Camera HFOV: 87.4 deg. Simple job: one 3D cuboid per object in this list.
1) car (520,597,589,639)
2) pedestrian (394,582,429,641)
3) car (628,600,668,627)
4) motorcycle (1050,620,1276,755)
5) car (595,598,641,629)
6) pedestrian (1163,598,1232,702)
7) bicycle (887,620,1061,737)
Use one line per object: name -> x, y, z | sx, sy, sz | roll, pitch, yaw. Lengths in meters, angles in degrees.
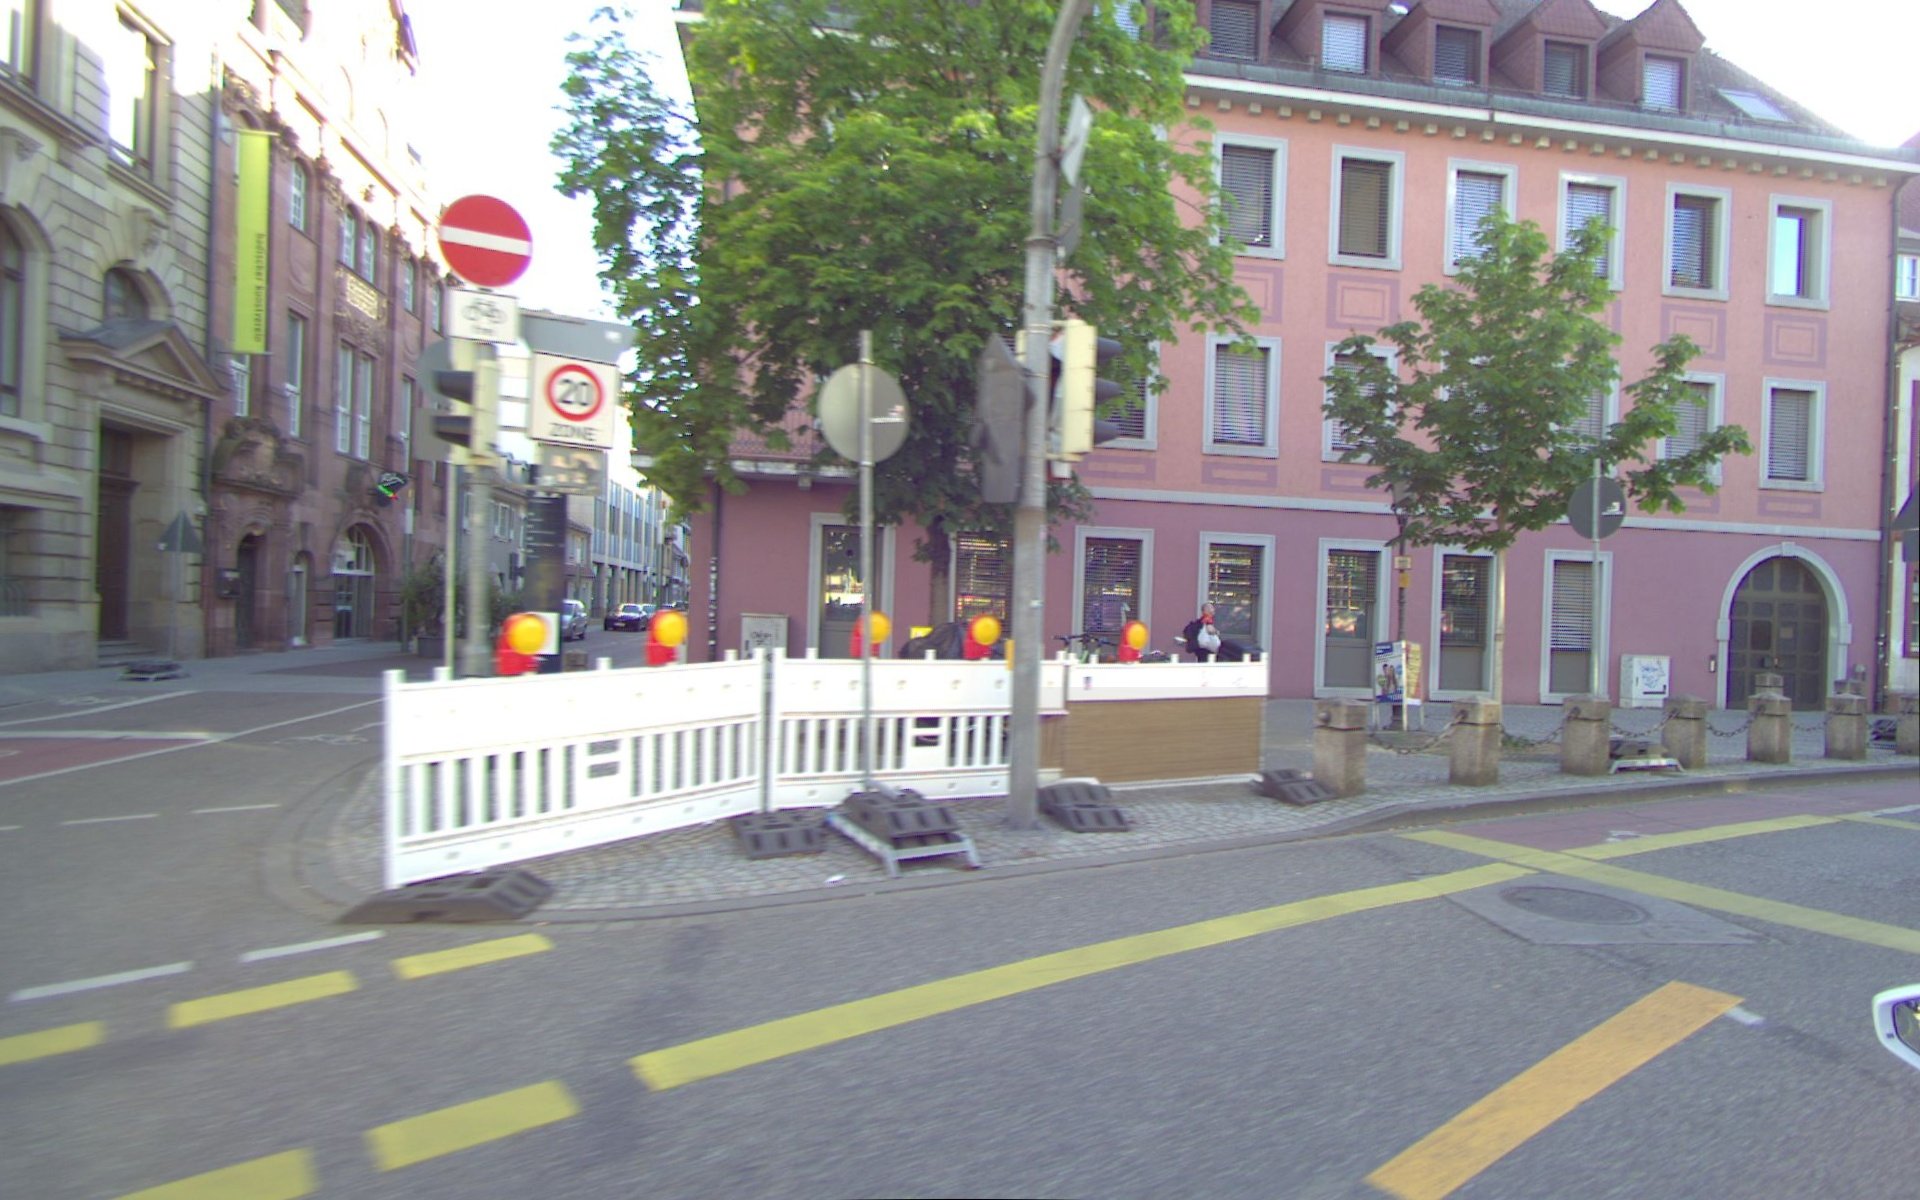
car -> -16.135, 0.697, 40.118 | 1.802, 1.508, 3.991 | 2, 0, -11
pedestrian -> -16.535, 0.348, 30.285 | 0.762, 1.728, 0.478 | 2, 0, -10
car -> -18.675, 0.815, 60.274 | 1.802, 1.508, 3.991 | 2, -1, -11
motorcycle -> 2.189, 0.917, 10.797 | 2.303, 1.335, 0.810 | 2, -1, -22
car -> -18.385, 0.707, 54.166 | 1.802, 1.508, 3.991 | 2, 0, -11
pedestrian -> 4.085, 0.844, 17.300 | 0.853, 1.711, 0.792 | 2, 1, -8
bicycle -> 0.140, 0.881, 11.727 | 1.973, 1.222, 0.681 | 0, -3, 36
